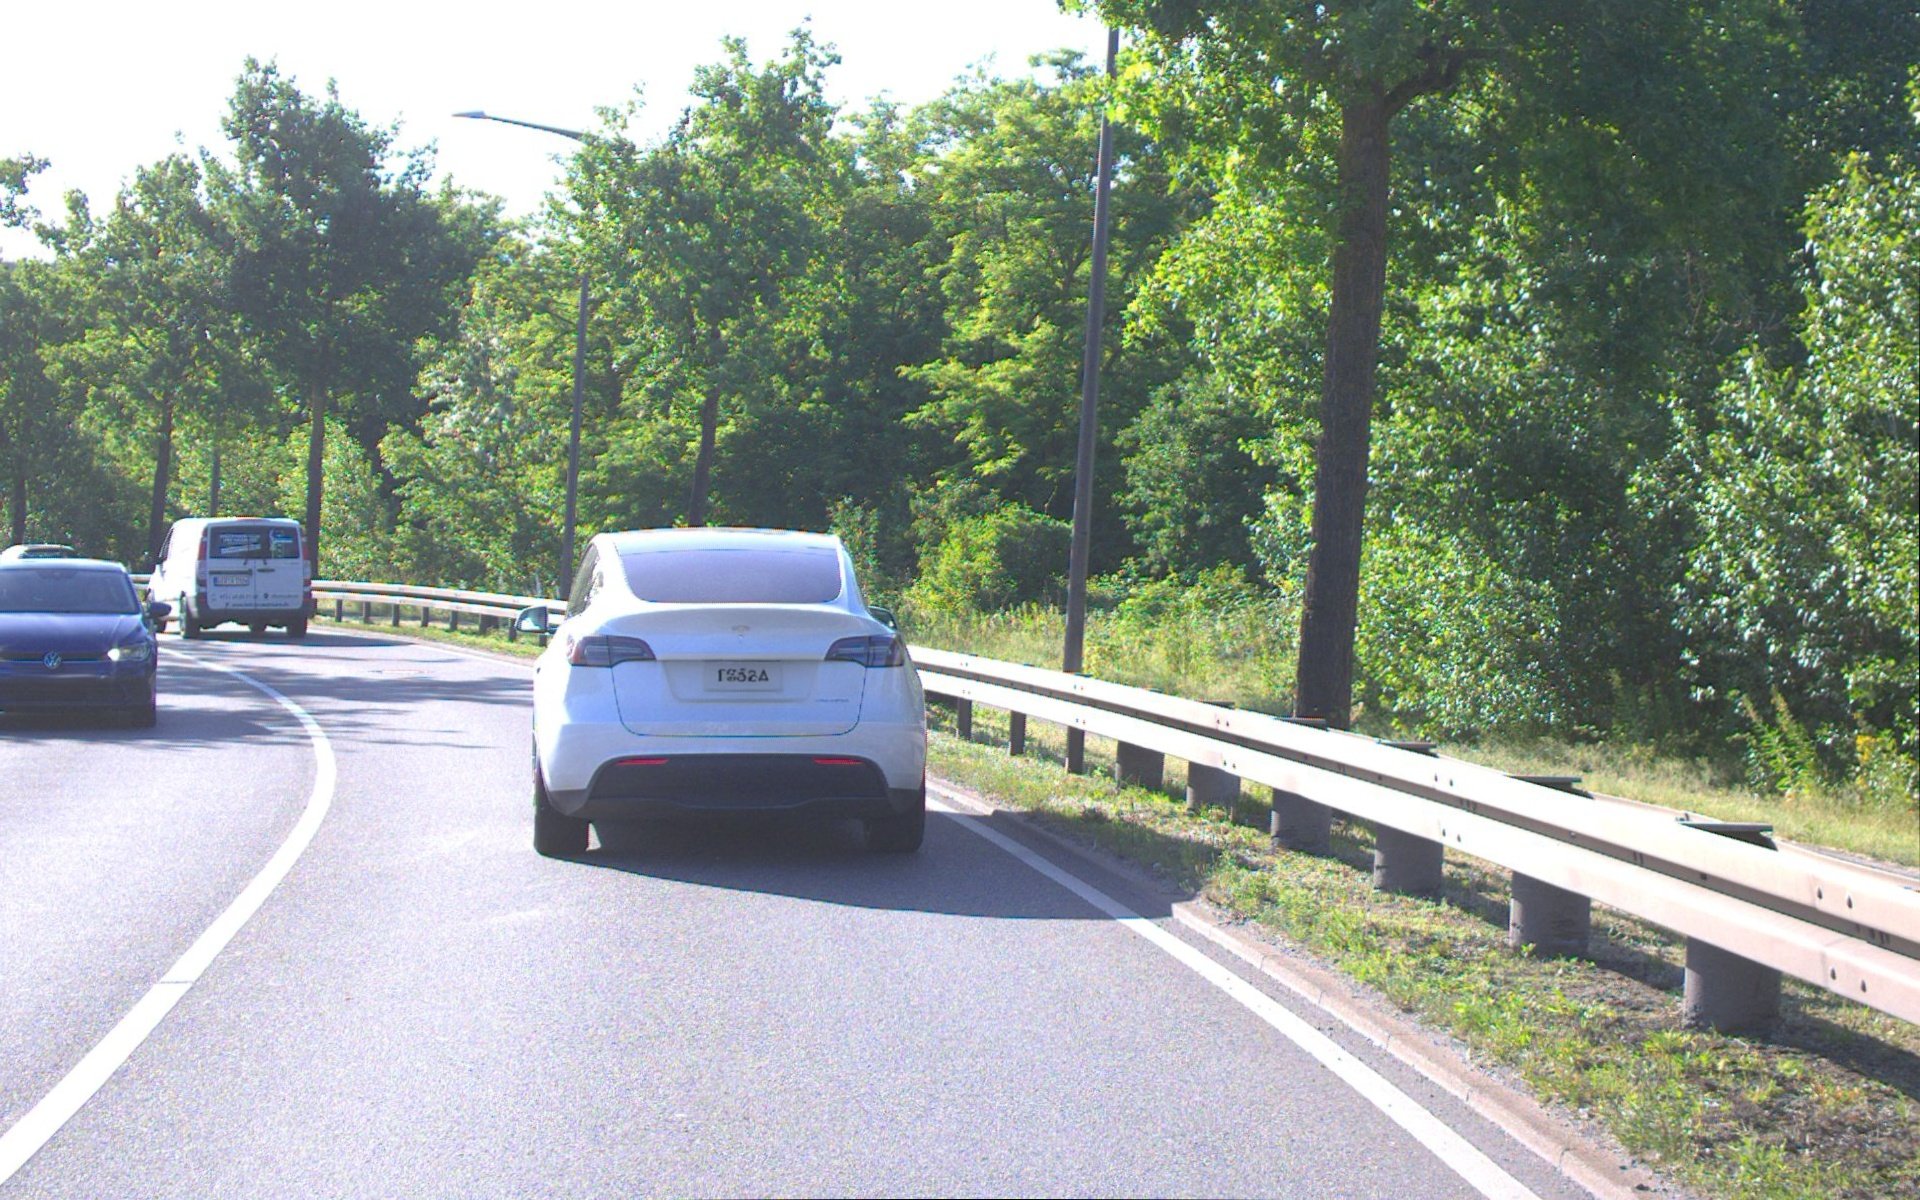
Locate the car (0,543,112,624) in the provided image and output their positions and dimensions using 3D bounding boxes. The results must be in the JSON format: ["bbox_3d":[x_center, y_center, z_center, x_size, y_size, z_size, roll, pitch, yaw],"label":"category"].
[{"bbox_3d":[-18.759,-0.356,70.154,1.859,1.579,3.915,0,1,-29],"label":"car"}]

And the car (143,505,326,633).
[{"bbox_3d":[-11.578,-0.522,54.653,2.005,1.934,4.469,0,1,-23],"label":"car"}]

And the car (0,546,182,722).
[{"bbox_3d":[-7.926,0.260,30.542,1.791,1.426,3.828,0,1,-15],"label":"car"}]

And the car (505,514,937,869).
[{"bbox_3d":[-1.271,0.395,17.985,1.985,1.632,4.063,1,1,-5],"label":"car"}]
